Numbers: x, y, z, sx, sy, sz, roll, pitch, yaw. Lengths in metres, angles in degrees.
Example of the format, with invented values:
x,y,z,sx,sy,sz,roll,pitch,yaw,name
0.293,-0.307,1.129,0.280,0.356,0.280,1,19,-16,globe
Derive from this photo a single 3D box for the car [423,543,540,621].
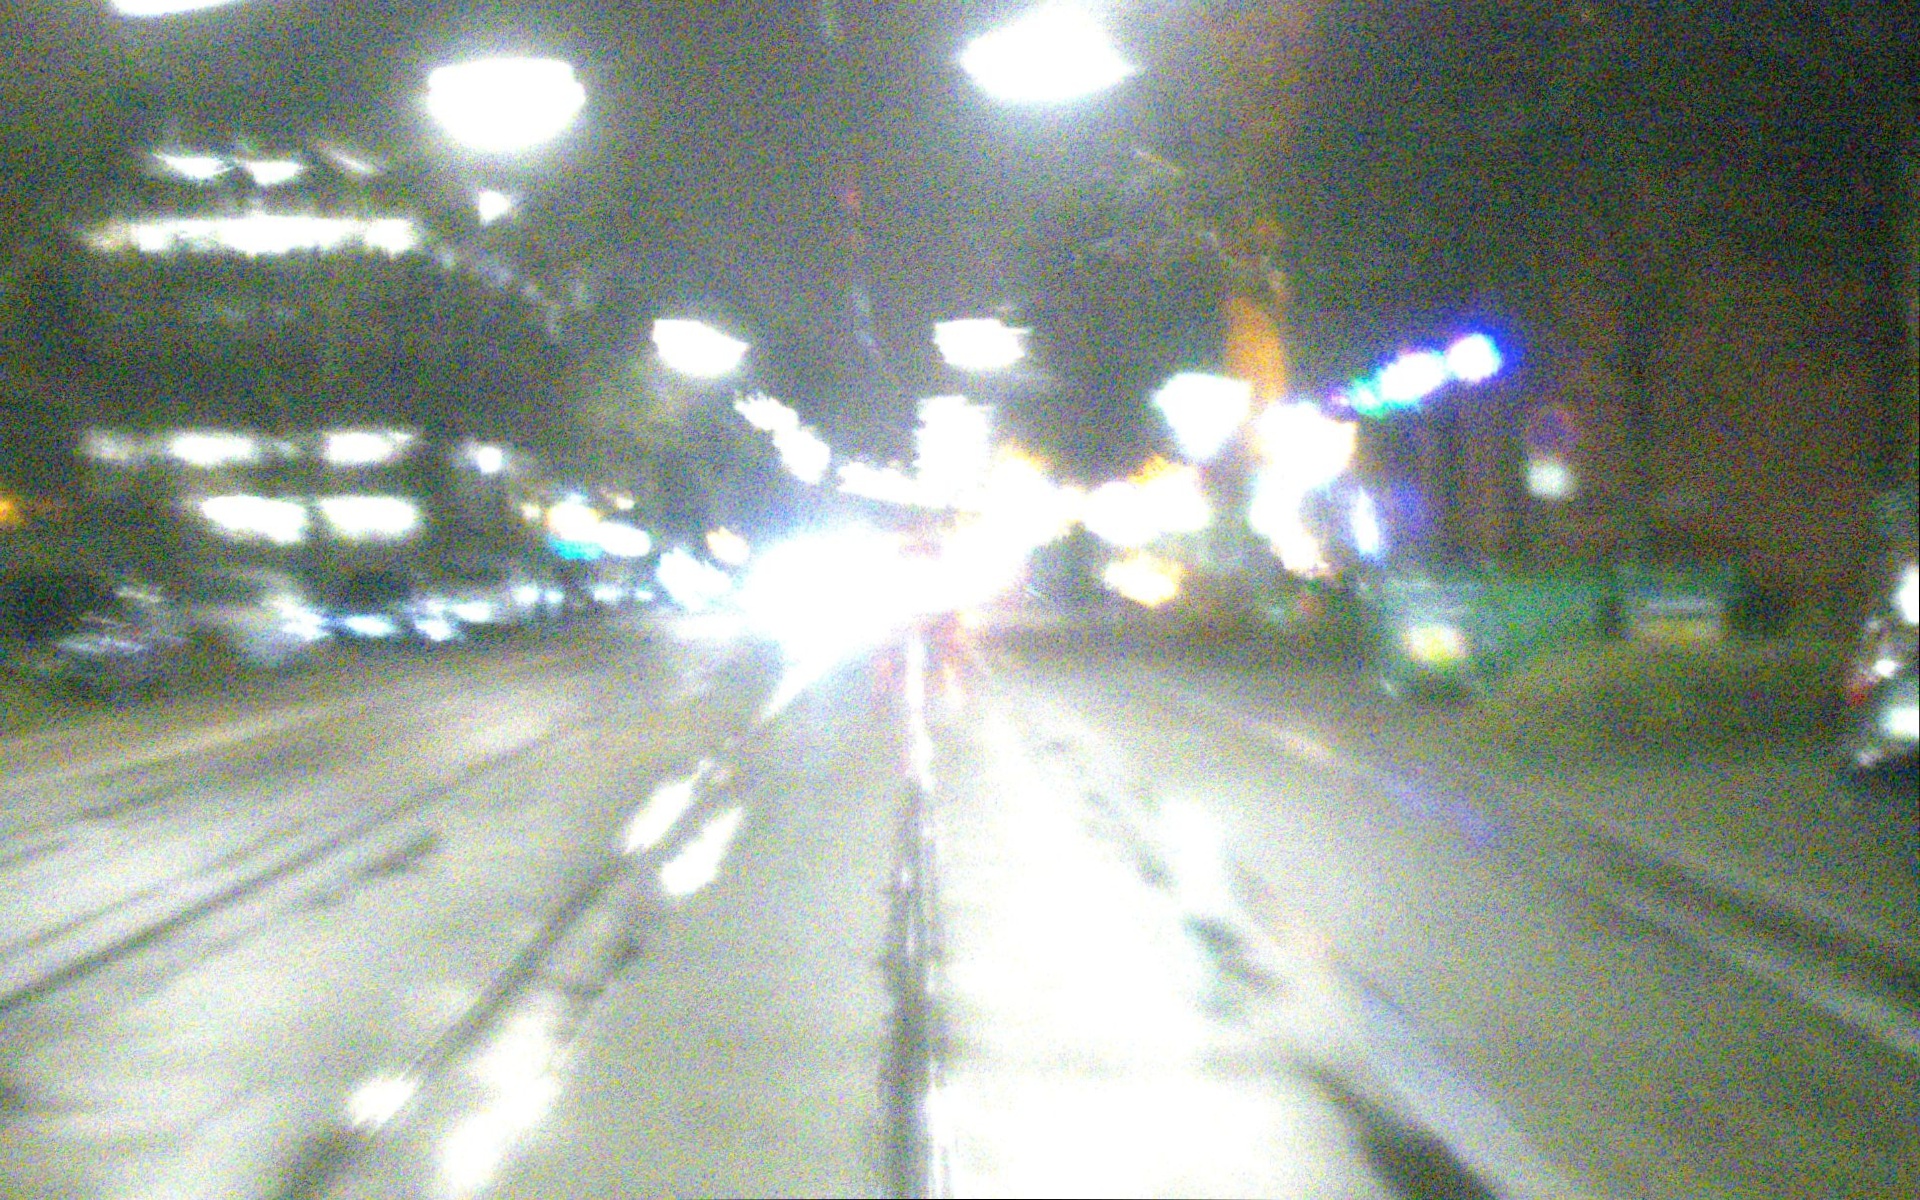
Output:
x,y,z,sx,sy,sz,roll,pitch,yaw,name
-10.362,-0.419,74.782,1.983,1.625,4.517,0,1,-1,car

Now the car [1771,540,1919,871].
x,y,z,sx,sy,sz,roll,pitch,yaw,name
6.382,0.404,16.456,4.584,1.470,1.840,-2,2,-20,car

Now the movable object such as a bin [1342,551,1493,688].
x,y,z,sx,sy,sz,roll,pitch,yaw,name
4.891,0.196,36.848,1.321,1.403,1.160,-2,1,-6,movable object such as a bin

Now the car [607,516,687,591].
x,y,z,sx,sy,sz,roll,pitch,yaw,name
-11.282,-1.709,124.354,2.185,2.582,6.392,0,2,1,car

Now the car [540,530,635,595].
x,y,z,sx,sy,sz,roll,pitch,yaw,name
-10.041,-1.026,92.971,1.969,1.650,4.601,2,1,1,car

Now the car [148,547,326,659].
x,y,z,sx,sy,sz,roll,pitch,yaw,name
-10.207,0.006,48.845,1.887,1.458,4.961,-1,1,-5,car

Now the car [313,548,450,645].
x,y,z,sx,sy,sz,roll,pitch,yaw,name
-10.198,-0.089,60.864,1.880,1.540,4.400,3,1,-4,car

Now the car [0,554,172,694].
x,y,z,sx,sy,sz,roll,pitch,yaw,name
-9.997,0.225,38.001,1.839,1.418,4.210,-1,1,-4,car

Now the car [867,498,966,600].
x,y,z,sx,sy,sz,roll,pitch,yaw,name
-1.069,-1.215,81.366,2.244,2.353,4.394,0,1,-2,car

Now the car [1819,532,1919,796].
x,y,z,sx,sy,sz,roll,pitch,yaw,name
7.223,0.312,20.603,3.692,1.513,1.659,-2,1,-19,car

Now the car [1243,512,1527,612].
x,y,z,sx,sy,sz,roll,pitch,yaw,name
6.788,-0.620,54.899,4.092,1.532,1.961,-1,1,-26,car

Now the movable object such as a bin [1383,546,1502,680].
x,y,z,sx,sy,sz,roll,pitch,yaw,name
5.337,0.133,38.114,1.208,1.417,1.100,-2,1,5,movable object such as a bin
